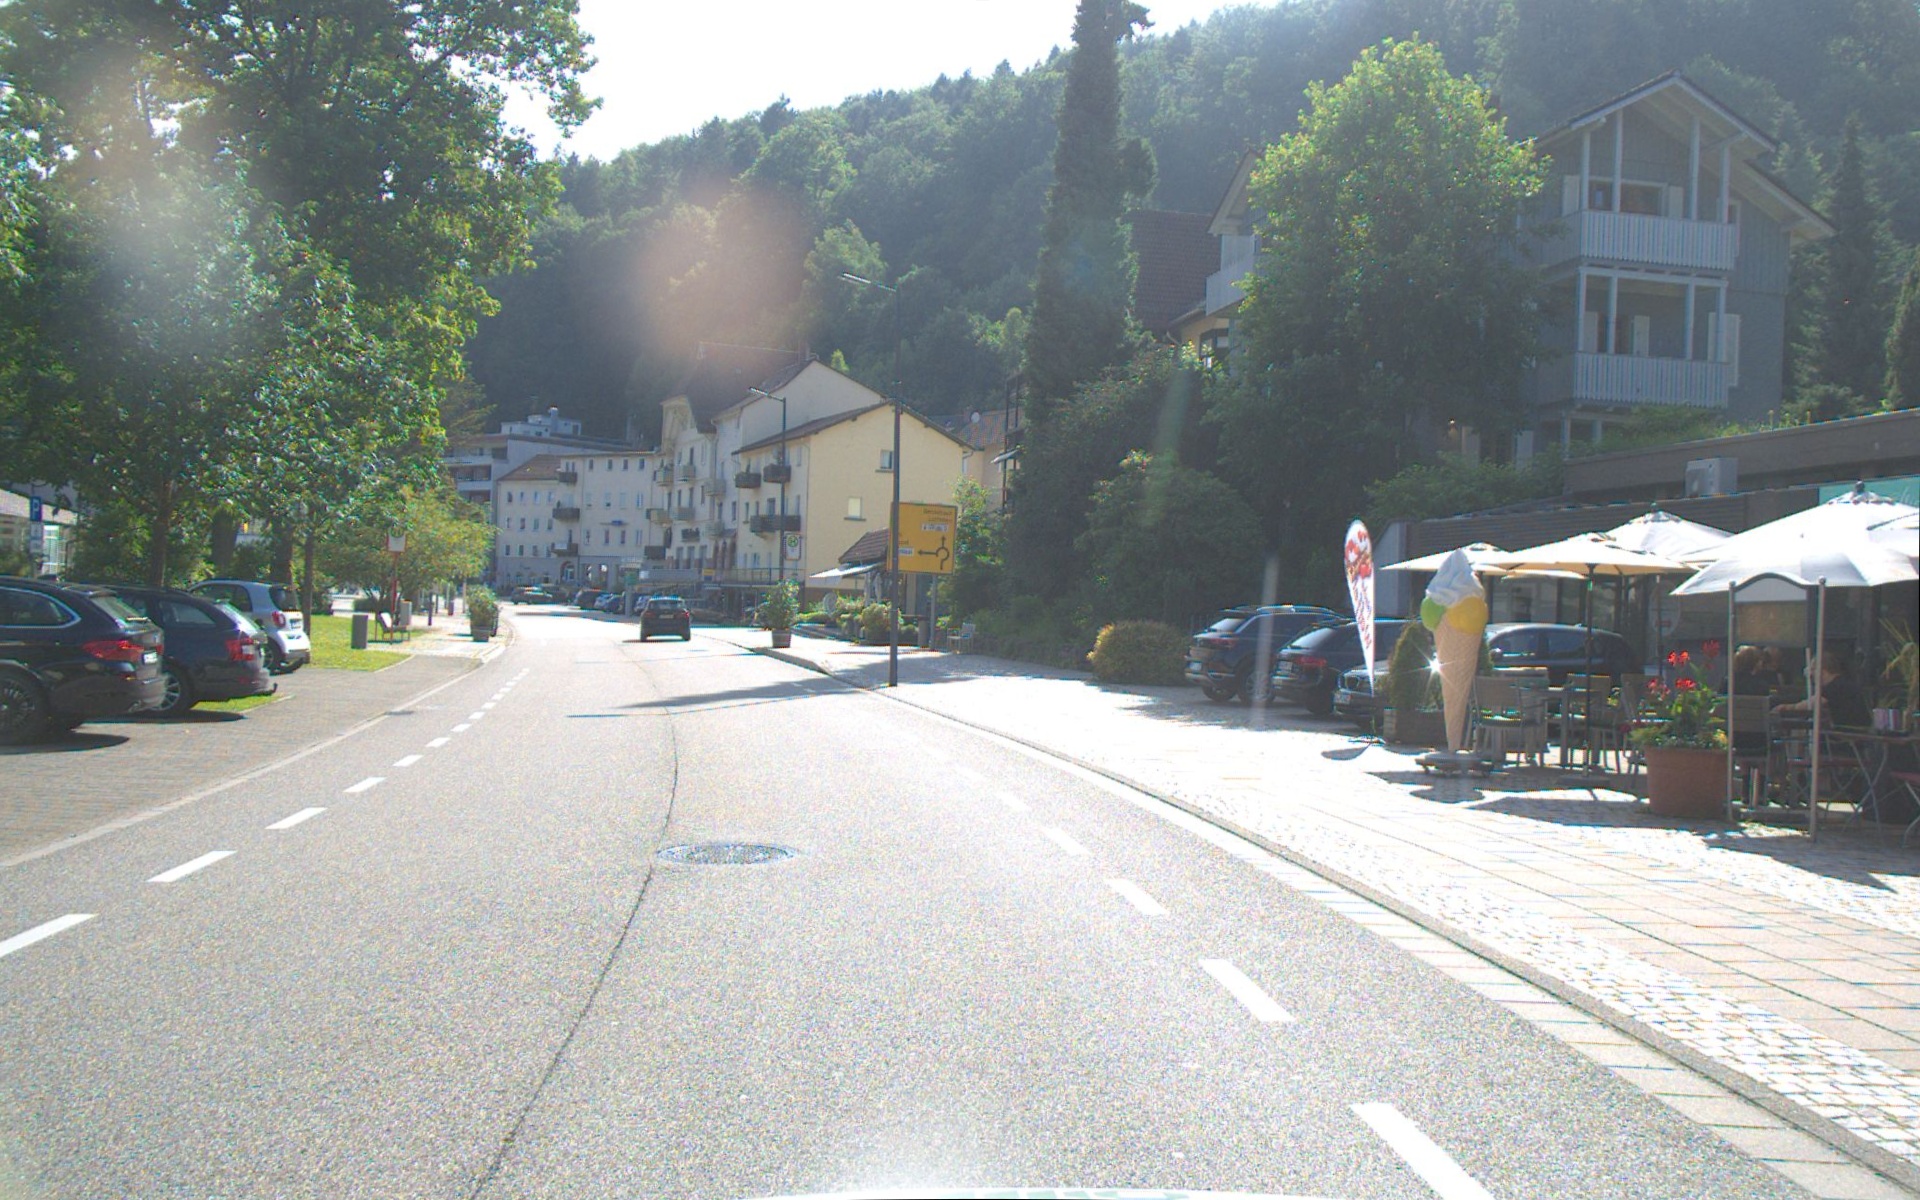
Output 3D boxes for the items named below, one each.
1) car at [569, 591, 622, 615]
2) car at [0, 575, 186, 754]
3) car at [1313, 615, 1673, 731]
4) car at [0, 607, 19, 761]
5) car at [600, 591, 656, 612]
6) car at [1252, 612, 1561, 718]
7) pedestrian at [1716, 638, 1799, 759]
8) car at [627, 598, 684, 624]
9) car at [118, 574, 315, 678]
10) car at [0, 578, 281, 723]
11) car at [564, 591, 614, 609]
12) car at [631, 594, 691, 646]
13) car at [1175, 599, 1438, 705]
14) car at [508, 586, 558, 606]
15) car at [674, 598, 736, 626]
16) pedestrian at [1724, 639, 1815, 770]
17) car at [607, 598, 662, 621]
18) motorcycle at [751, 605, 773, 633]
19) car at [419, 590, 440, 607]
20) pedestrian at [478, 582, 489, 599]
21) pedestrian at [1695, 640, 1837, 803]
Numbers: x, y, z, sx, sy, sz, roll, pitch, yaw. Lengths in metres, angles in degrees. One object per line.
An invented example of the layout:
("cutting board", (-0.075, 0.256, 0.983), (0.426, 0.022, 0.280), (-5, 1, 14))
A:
("car", (-30.881, 0.269, 140.085), (4.028, 1.695, 1.761), (6, -1, -22))
("car", (-9.814, 0.497, 15.328), (4.416, 1.536, 1.707), (3, -1, -13))
("car", (6.910, 0.941, 21.596), (4.186, 1.403, 1.704), (1, -1, -11))
("car", (-9.569, 0.607, 12.618), (3.728, 1.265, 1.757), (3, -1, -13))
("car", (-27.309, 0.127, 135.986), (4.292, 1.486, 1.762), (4, -2, -20))
("car", (6.521, 0.939, 24.310), (4.036, 1.440, 1.744), (1, -1, -11))
("pedestrian", (8.932, 1.087, 18.546), (0.683, 1.283, 0.813), (1, 0, 14))
("car", (-23.066, 0.810, 125.162), (3.856, 1.616, 1.763), (5, -1, -22))
("car", (-12.737, 0.452, 28.480), (2.600, 1.574, 1.680), (4, -1, -6))
("car", (-10.200, 0.536, 19.027), (4.209, 1.457, 1.704), (4, -1, -18))
("car", (-33.083, -0.008, 147.604), (3.990, 1.542, 1.745), (-1, 3, -43))
("car", (-10.756, 0.683, 59.425), (1.699, 1.601, 3.737), (3, 1, -16))
("car", (5.598, 0.827, 26.913), (3.806, 1.608, 1.744), (1, 0, -11))
("car", (-38.065, -0.357, 147.543), (3.950, 1.691, 1.978), (0, 1, -33))
("car", (-17.323, 0.785, 112.355), (3.810, 1.581, 1.747), (5, -1, -25))
("pedestrian", (8.357, 1.062, 17.096), (0.683, 1.283, 0.813), (1, 0, 14))
("car", (-25.563, 0.722, 129.920), (3.855, 1.486, 1.724), (5, -1, -22))
("motorcycle", (-9.432, 0.892, 78.795), (0.685, 1.319, 2.202), (-1, 0, -16))
("car", (-47.839, -0.118, 149.203), (1.713, 1.488, 4.168), (0, 0, -16))
("pedestrian", (-46.220, -0.934, 160.431), (0.754, 1.621, 0.618), (3, -1, -45))
("pedestrian", (6.663, 0.986, 13.692), (0.798, 1.283, 0.696), (1, 0, -20))
